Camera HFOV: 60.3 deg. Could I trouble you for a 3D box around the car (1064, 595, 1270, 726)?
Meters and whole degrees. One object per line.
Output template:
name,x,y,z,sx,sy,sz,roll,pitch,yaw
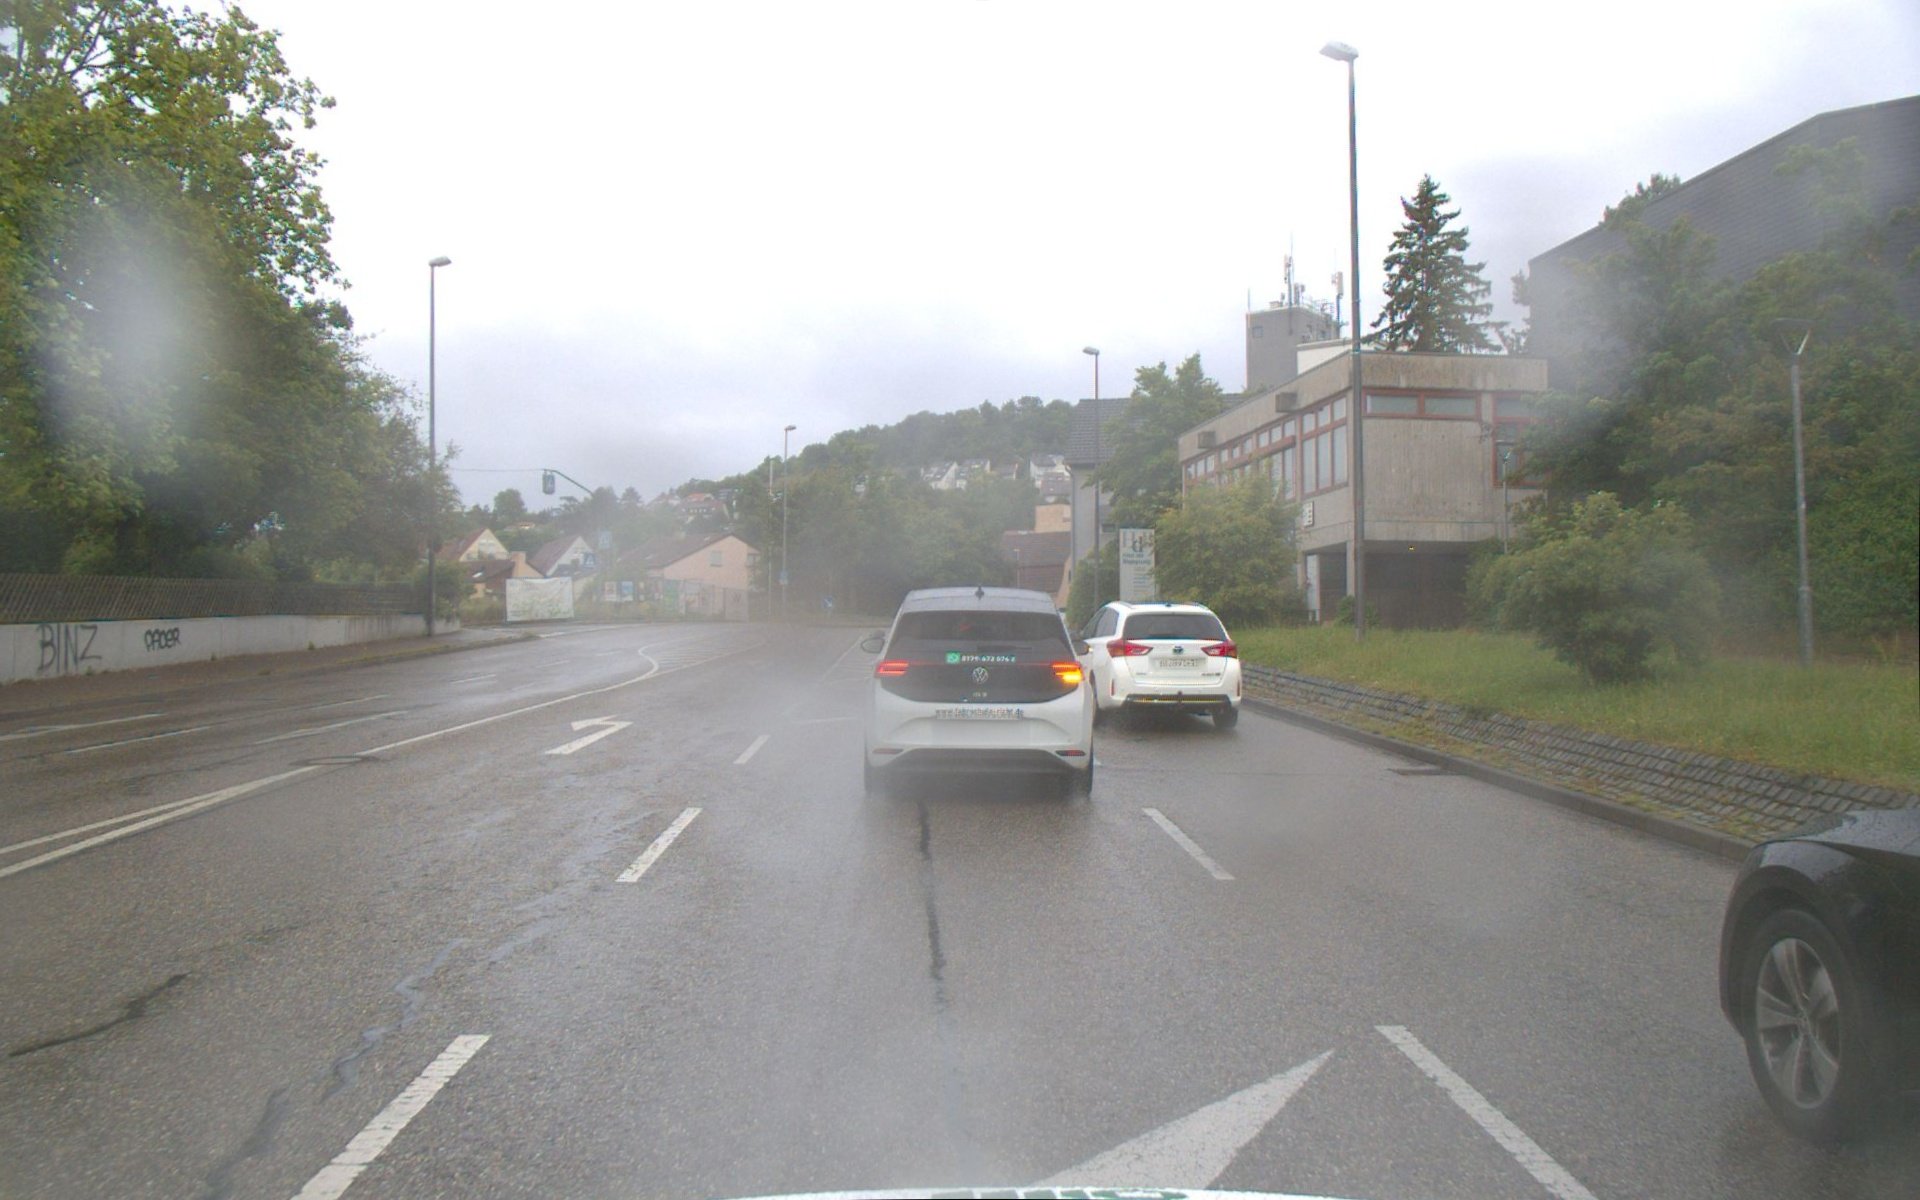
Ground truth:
car,2.432,0.697,20.448,1.811,1.434,4.299,0,-1,-3

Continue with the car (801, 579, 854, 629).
car,-5.777,0.206,72.278,1.953,2.049,3.999,1,-1,0

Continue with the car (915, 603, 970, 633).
car,-1.011,1.082,100.231,1.951,1.723,4.707,1,-1,17

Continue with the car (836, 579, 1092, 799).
car,0.096,0.654,13.710,1.790,1.526,4.169,0,-1,2

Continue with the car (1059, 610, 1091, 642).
car,7.664,1.730,110.205,1.952,2.049,4.001,1,-1,2

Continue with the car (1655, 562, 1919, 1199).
car,3.288,0.703,3.102,1.914,1.534,4.607,2,-1,-1

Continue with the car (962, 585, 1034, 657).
car,0.824,0.453,38.099,1.535,1.557,3.999,0,0,-1

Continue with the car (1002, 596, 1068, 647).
car,2.362,0.691,52.681,1.952,1.478,3.771,-2,-1,2
